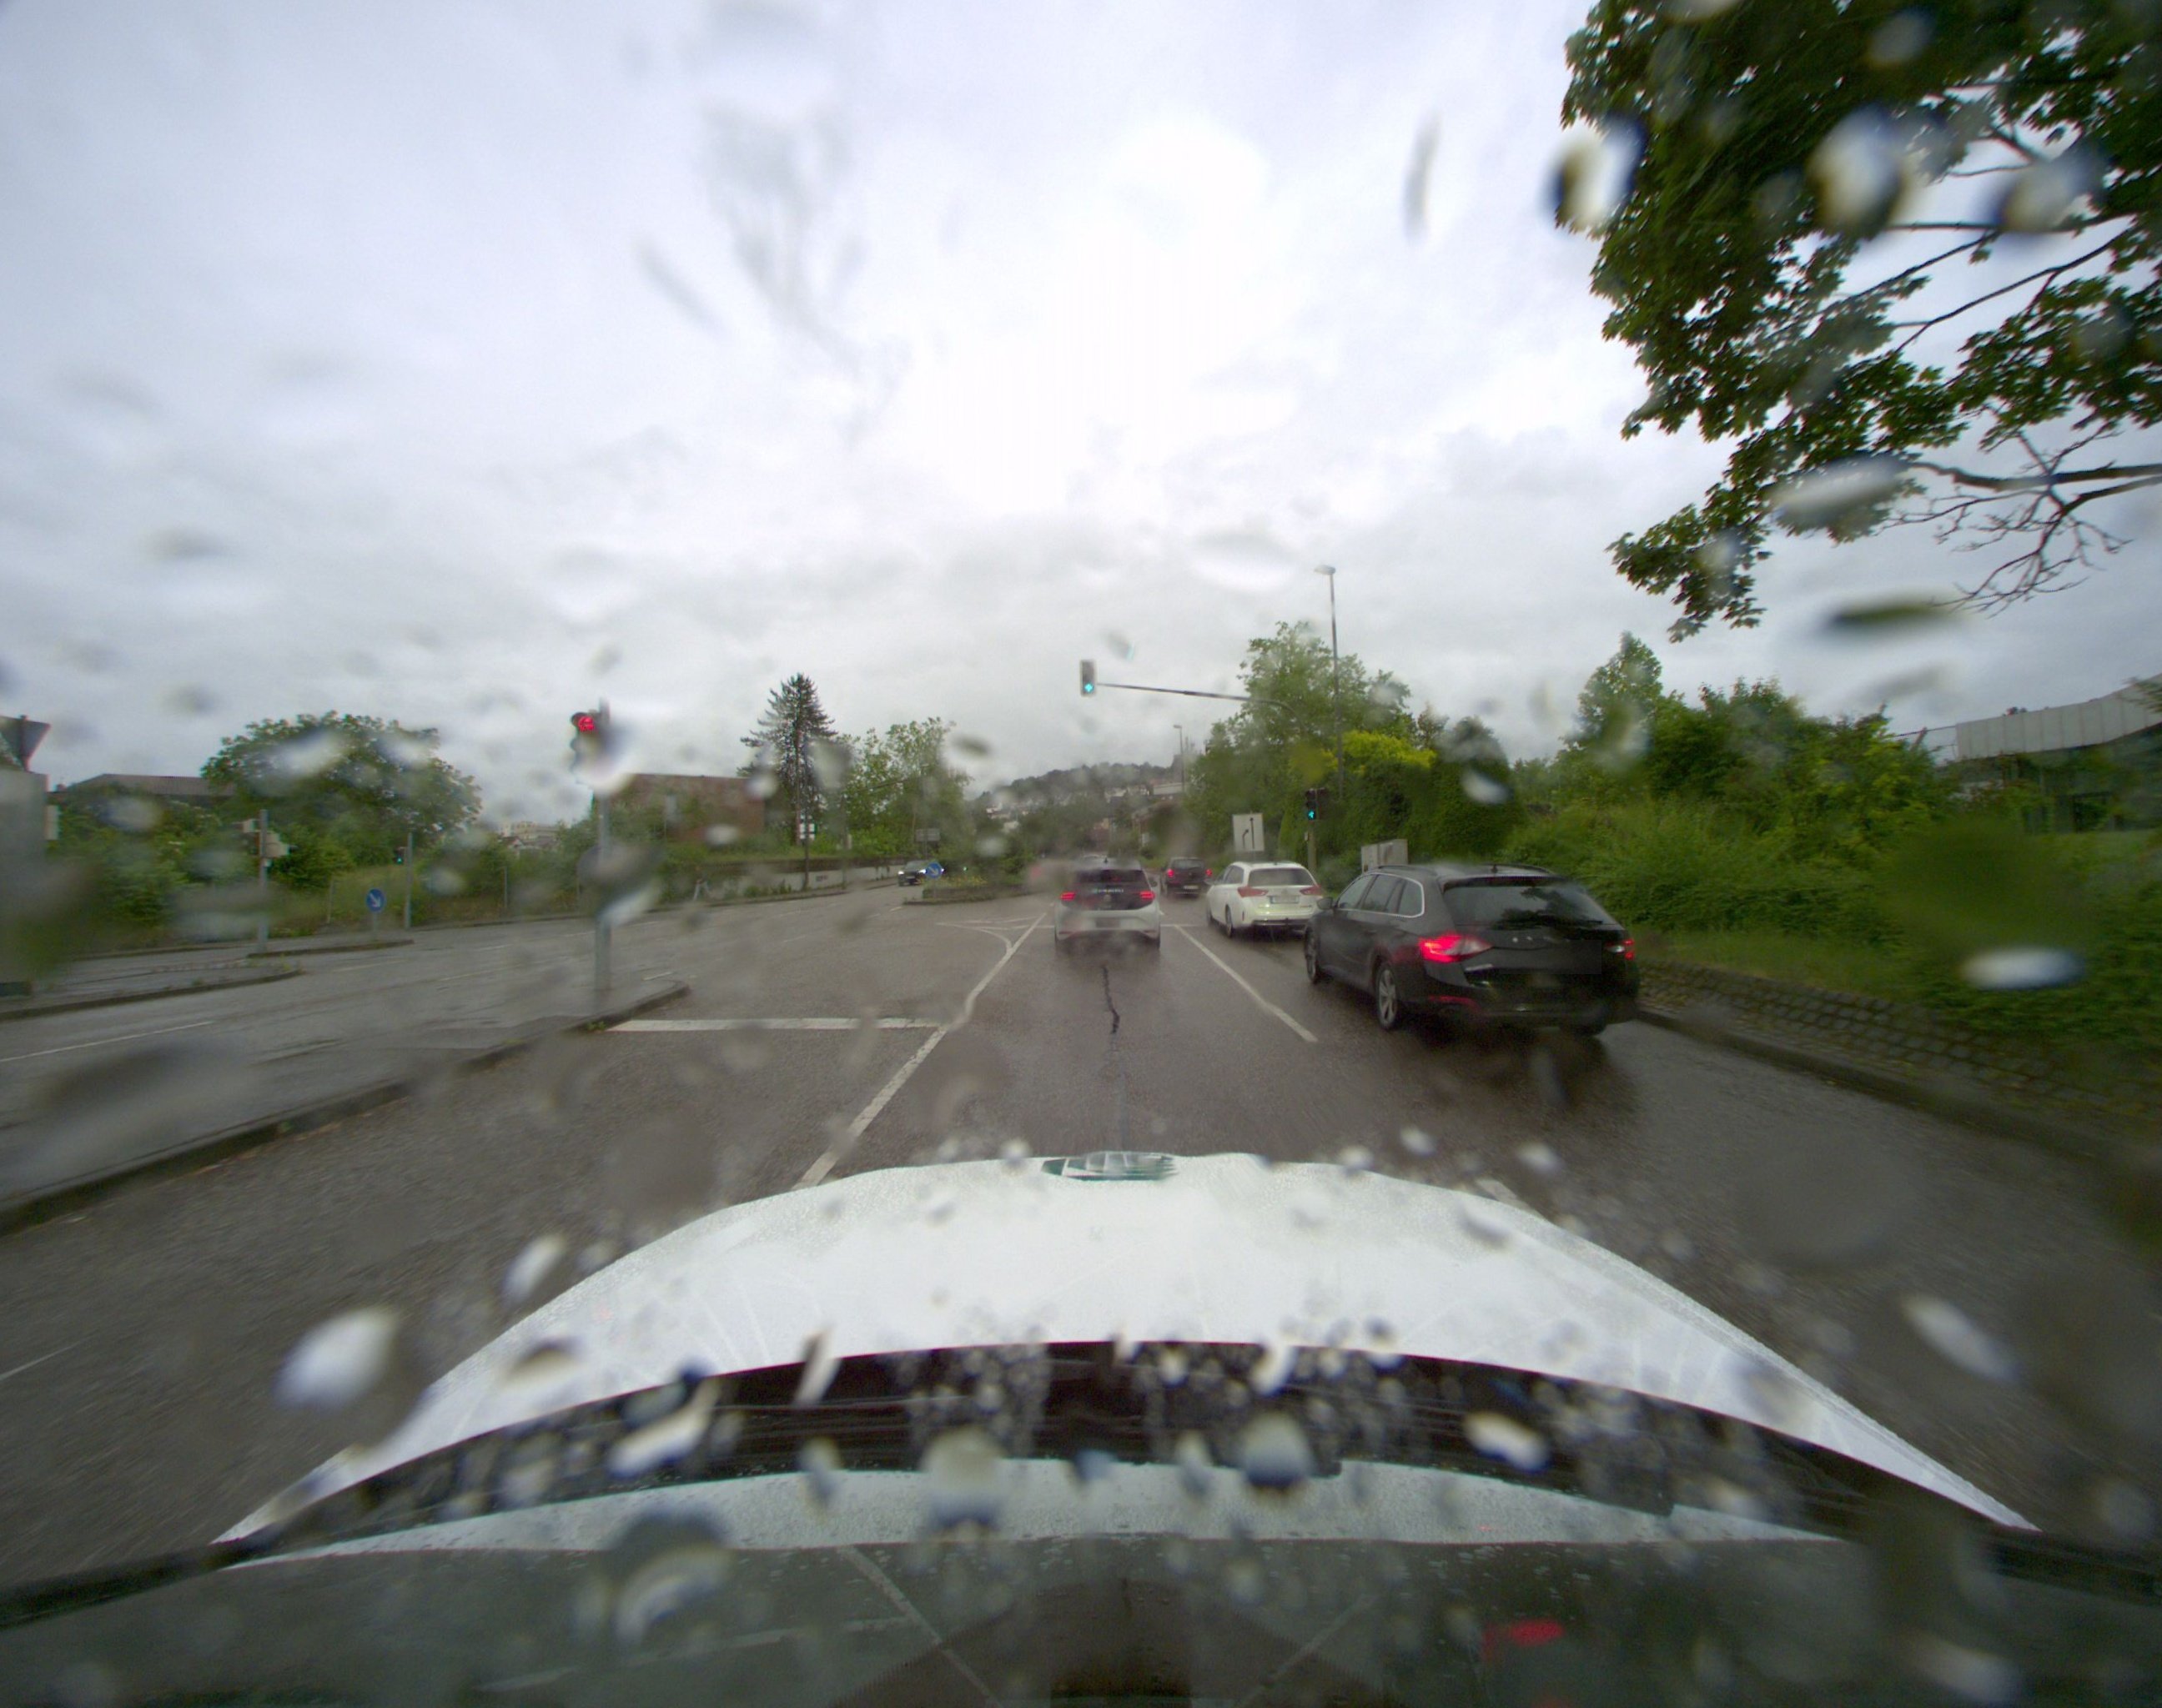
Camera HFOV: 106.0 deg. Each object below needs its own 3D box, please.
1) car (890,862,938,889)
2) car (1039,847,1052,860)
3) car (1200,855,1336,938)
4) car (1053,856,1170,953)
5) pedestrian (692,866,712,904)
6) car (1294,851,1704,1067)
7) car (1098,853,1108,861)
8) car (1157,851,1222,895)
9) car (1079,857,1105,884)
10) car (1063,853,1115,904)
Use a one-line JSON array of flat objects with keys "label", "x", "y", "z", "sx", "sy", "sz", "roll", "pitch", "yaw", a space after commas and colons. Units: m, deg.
[{"label": "car", "x": -10.511, "y": 1.333, "z": 51.601, "sx": 1.943, "sy": 1.478, "sz": 4.297, "roll": -4, "pitch": -1, "yaw": 1}, {"label": "car", "x": -5.733, "y": -0.059, "z": 133.332, "sx": 1.987, "sy": 2.014, "sz": 3.998, "roll": 0, "pitch": -1, "yaw": -1}, {"label": "car", "x": 3.605, "y": 0.777, "z": 16.479, "sx": 1.841, "sy": 1.410, "sz": 4.302, "roll": -1, "pitch": -1, "yaw": 1}, {"label": "car", "x": 0.536, "y": 0.826, "z": 14.955, "sx": 1.822, "sy": 1.500, "sz": 4.169, "roll": -1, "pitch": -1, "yaw": 1}, {"label": "pedestrian", "x": -16.581, "y": 1.355, "z": 35.638, "sx": 0.546, "sy": 1.642, "sz": 0.503, "roll": -4, "pitch": -1, "yaw": 31}, {"label": "car", "x": 3.583, "y": 0.775, "z": 8.130, "sx": 1.946, "sy": 1.507, "sz": 4.612, "roll": 1, "pitch": -1, "yaw": 3}, {"label": "car", "x": 4.383, "y": 0.568, "z": 163.389, "sx": 1.732, "sy": 1.464, "sz": 3.998, "roll": 0, "pitch": -1, "yaw": -1}, {"label": "car", "x": 4.032, "y": 0.701, "z": 30.823, "sx": 1.986, "sy": 1.453, "sz": 3.771, "roll": -4, "pitch": -1, "yaw": 1}, {"label": "car", "x": 0.916, "y": 1.290, "z": 64.271, "sx": 1.986, "sy": 2.014, "sz": 4.001, "roll": -1, "pitch": -1, "yaw": 1}, {"label": "car", "x": 0.224, "y": 0.753, "z": 27.122, "sx": 1.563, "sy": 1.530, "sz": 3.998, "roll": -2, "pitch": 0, "yaw": -1}]
